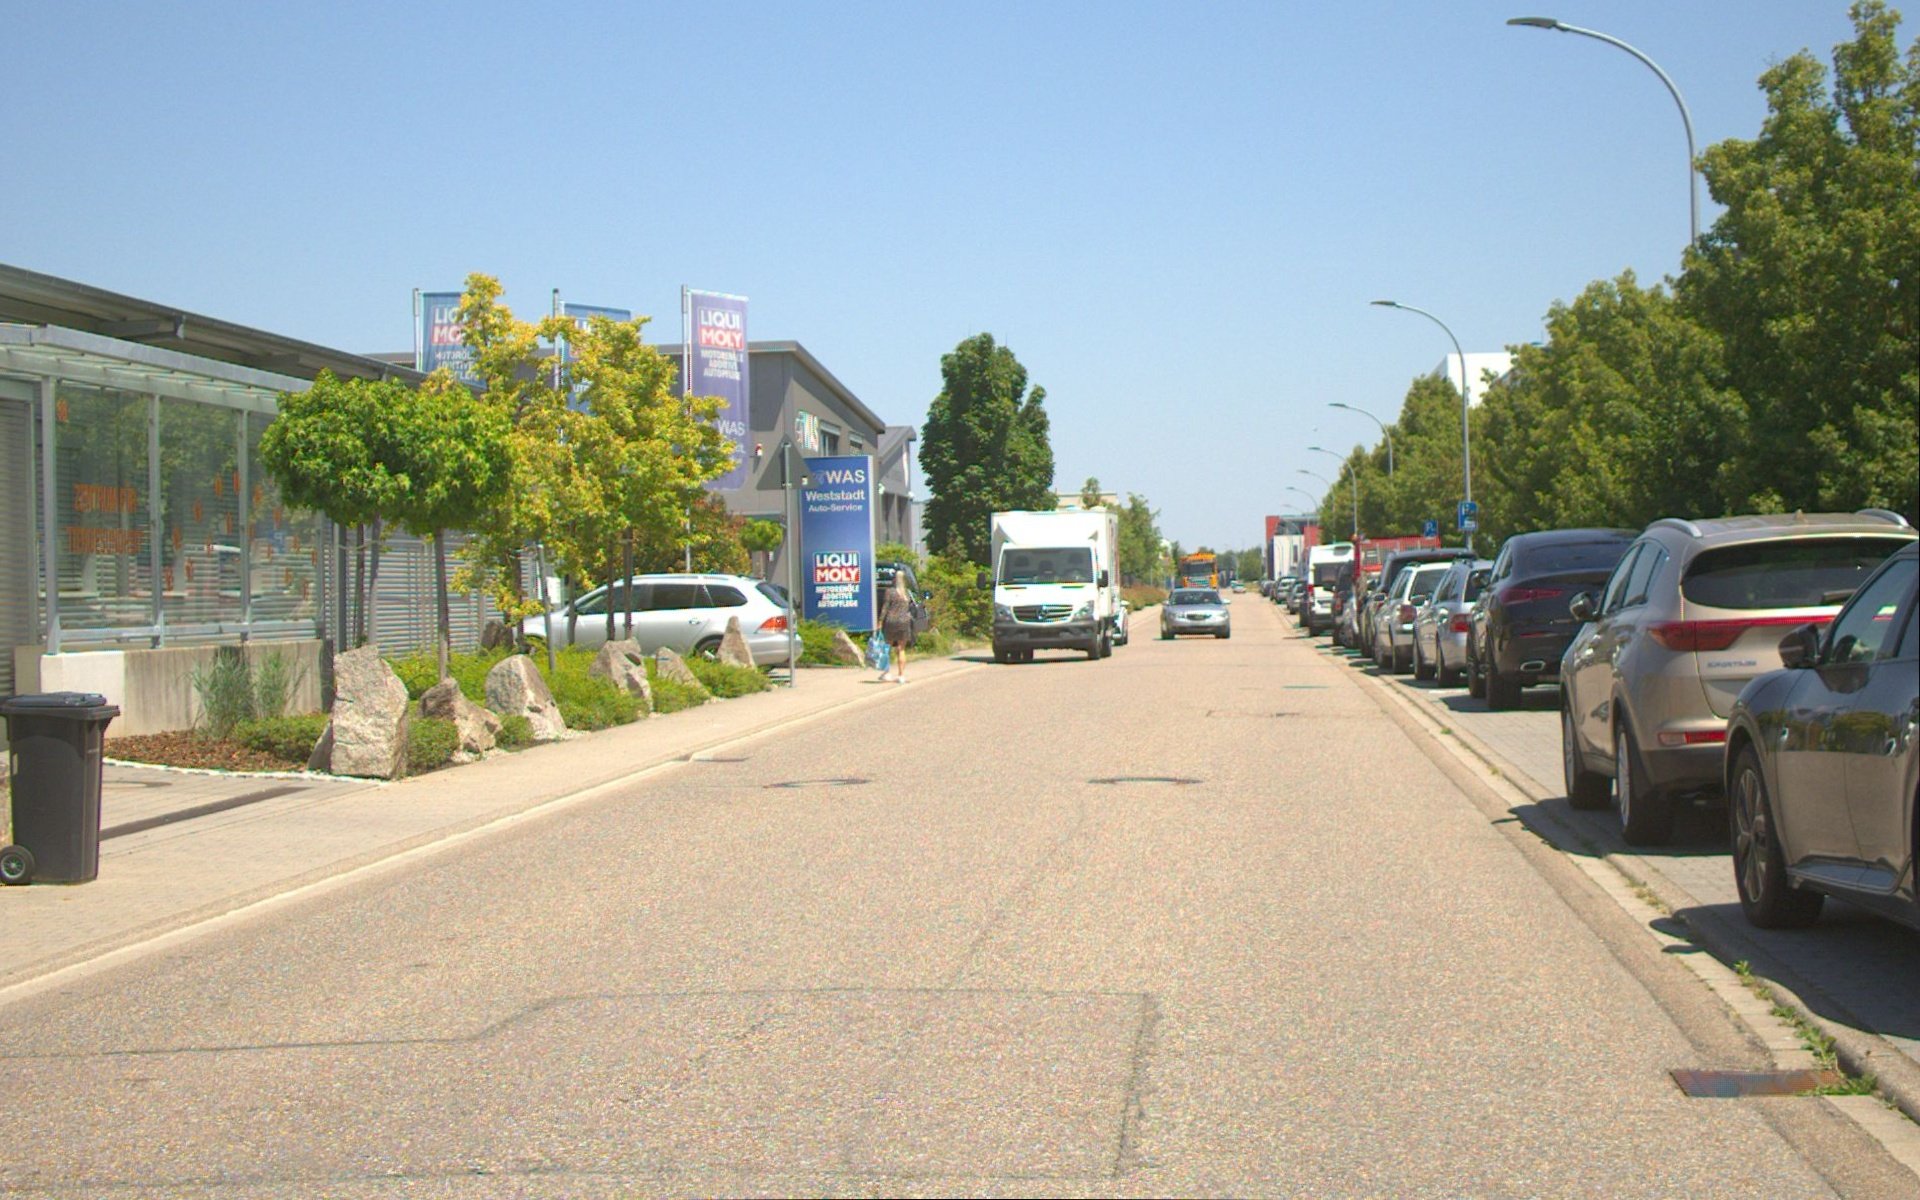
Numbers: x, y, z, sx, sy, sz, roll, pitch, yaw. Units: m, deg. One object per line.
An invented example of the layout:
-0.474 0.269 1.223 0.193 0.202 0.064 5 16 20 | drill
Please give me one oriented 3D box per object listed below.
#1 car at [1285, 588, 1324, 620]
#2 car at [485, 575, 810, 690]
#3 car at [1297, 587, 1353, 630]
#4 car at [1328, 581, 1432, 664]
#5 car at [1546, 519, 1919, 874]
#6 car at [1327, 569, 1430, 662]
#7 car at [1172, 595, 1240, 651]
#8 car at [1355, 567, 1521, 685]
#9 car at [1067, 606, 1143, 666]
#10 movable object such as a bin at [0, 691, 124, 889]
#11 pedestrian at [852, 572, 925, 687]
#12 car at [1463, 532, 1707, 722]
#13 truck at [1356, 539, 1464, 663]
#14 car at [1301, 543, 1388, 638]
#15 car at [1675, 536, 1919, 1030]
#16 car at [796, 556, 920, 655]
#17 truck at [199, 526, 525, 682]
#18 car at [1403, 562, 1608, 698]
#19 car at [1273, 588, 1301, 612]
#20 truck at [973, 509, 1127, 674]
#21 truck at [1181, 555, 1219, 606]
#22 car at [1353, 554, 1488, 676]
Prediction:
16.237 0.185 162.174 1.718 1.445 3.645 -2 0 5 | car
-4.319 0.447 47.928 4.262 1.513 1.866 -1 0 4 | car
13.376 0.326 125.831 1.710 1.499 4.704 -1 -1 10 | car
8.413 0.448 69.109 1.738 1.525 3.999 -3 0 3 | car
4.313 0.433 18.556 1.805 1.630 4.457 -3 0 5 | car
9.081 0.329 74.952 1.994 1.878 5.154 -2 0 5 | car
6.889 0.638 96.132 1.783 1.417 4.413 -3 0 5 | car
6.580 0.332 47.726 1.714 1.478 4.773 -3 0 2 | car
3.684 0.897 86.965 1.730 1.453 4.491 0 0 5 | car
-4.508 0.939 17.110 0.570 0.946 0.512 0 0 -1 | movable object such as a bin
-0.995 0.398 47.827 0.899 1.569 0.785 1 0 6 | pedestrian
6.185 0.234 34.481 1.949 1.695 4.544 -3 0 5 | car
8.433 0.017 64.688 1.679 2.174 4.389 -3 0 4 | truck
10.755 -0.249 95.999 2.268 2.489 6.150 -2 0 7 | car
3.908 0.516 11.939 1.904 1.524 4.630 -3 0 1 | car
-2.072 0.115 71.212 1.994 1.950 5.217 0 0 5 | car
-14.197 0.064 81.339 8.053 3.545 2.581 0 0 34 | truck
6.537 0.332 41.639 1.805 1.478 4.773 -3 0 2 | car
19.893 -0.028 209.337 1.585 1.405 3.499 -1 0 5 | car
1.768 -0.148 65.119 2.362 2.850 6.414 -3 0 5 | truck
17.129 -1.406 244.788 2.449 3.501 8.271 -2 0 5 | truck
7.080 0.206 53.264 1.811 1.719 4.772 -3 0 5 | car
